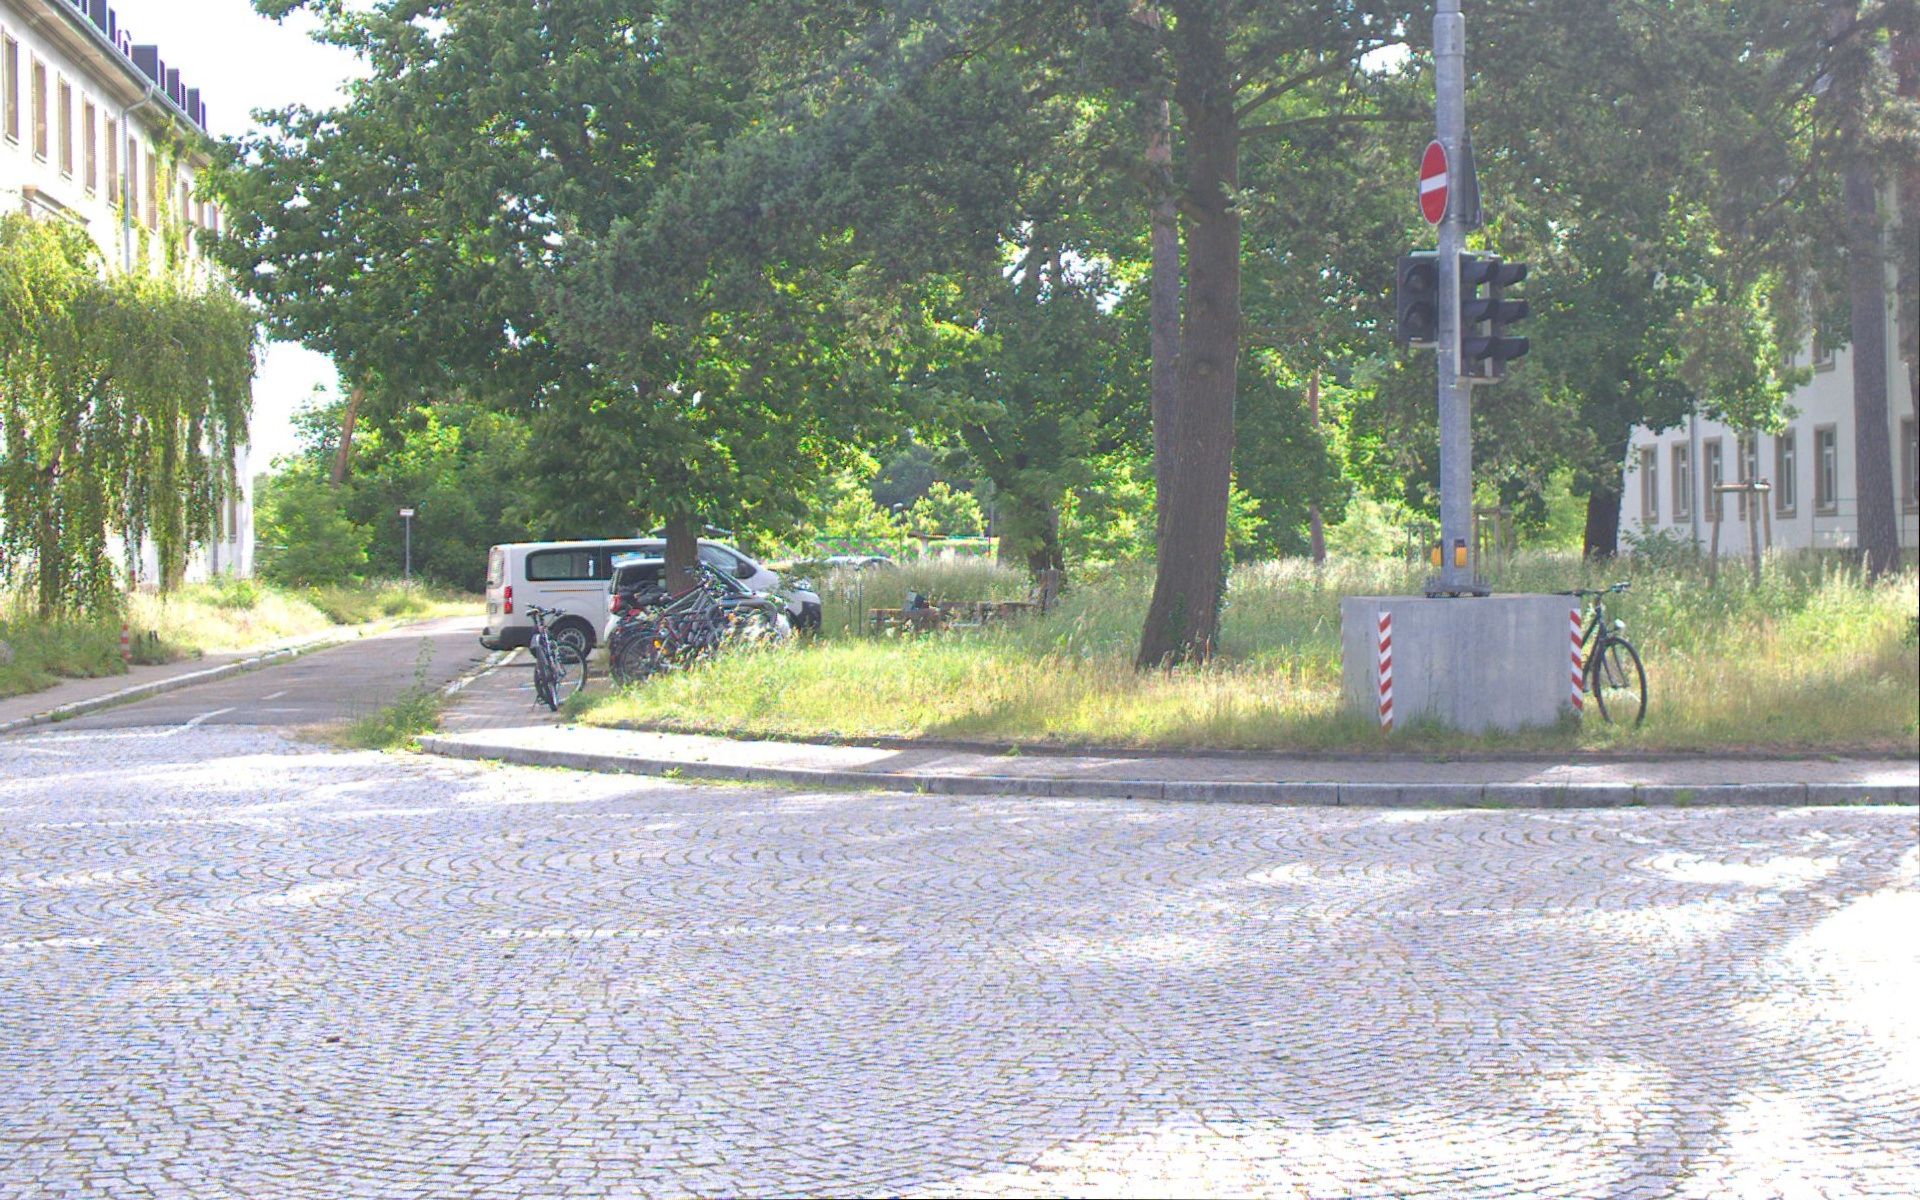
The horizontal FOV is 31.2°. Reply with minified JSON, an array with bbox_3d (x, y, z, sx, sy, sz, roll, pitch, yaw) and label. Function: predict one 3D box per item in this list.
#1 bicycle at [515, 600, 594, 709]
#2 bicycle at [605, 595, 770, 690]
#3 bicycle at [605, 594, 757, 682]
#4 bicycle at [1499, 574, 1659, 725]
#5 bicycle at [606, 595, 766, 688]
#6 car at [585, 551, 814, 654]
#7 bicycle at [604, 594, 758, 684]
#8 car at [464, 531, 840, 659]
[{"bbox_3d":[-4.072,0.536,34.628,0.728,0.995,1.799,-1,2,-5],"label":"bicycle"},{"bbox_3d":[-3.045,0.470,38.321,1.792,0.995,0.644,-1,2,-6],"label":"bicycle"},{"bbox_3d":[-3.382,0.456,41.565,1.792,0.995,0.644,-1,2,-6],"label":"bicycle"},{"bbox_3d":[4.436,0.337,24.741,0.562,0.995,1.752,-1,2,-9],"label":"bicycle"},{"bbox_3d":[-3.143,0.467,39.337,1.792,0.995,0.644,-1,2,-6],"label":"bicycle"},{"bbox_3d":[-3.856,0.037,50.666,3.031,1.460,1.720,-1,0,-18],"label":"car"},{"bbox_3d":[-3.319,0.461,40.829,1.792,0.995,0.644,-1,2,-6],"label":"bicycle"},{"bbox_3d":[-4.861,-0.097,54.158,5.499,1.909,2.255,-1,0,-19],"label":"car"}]
